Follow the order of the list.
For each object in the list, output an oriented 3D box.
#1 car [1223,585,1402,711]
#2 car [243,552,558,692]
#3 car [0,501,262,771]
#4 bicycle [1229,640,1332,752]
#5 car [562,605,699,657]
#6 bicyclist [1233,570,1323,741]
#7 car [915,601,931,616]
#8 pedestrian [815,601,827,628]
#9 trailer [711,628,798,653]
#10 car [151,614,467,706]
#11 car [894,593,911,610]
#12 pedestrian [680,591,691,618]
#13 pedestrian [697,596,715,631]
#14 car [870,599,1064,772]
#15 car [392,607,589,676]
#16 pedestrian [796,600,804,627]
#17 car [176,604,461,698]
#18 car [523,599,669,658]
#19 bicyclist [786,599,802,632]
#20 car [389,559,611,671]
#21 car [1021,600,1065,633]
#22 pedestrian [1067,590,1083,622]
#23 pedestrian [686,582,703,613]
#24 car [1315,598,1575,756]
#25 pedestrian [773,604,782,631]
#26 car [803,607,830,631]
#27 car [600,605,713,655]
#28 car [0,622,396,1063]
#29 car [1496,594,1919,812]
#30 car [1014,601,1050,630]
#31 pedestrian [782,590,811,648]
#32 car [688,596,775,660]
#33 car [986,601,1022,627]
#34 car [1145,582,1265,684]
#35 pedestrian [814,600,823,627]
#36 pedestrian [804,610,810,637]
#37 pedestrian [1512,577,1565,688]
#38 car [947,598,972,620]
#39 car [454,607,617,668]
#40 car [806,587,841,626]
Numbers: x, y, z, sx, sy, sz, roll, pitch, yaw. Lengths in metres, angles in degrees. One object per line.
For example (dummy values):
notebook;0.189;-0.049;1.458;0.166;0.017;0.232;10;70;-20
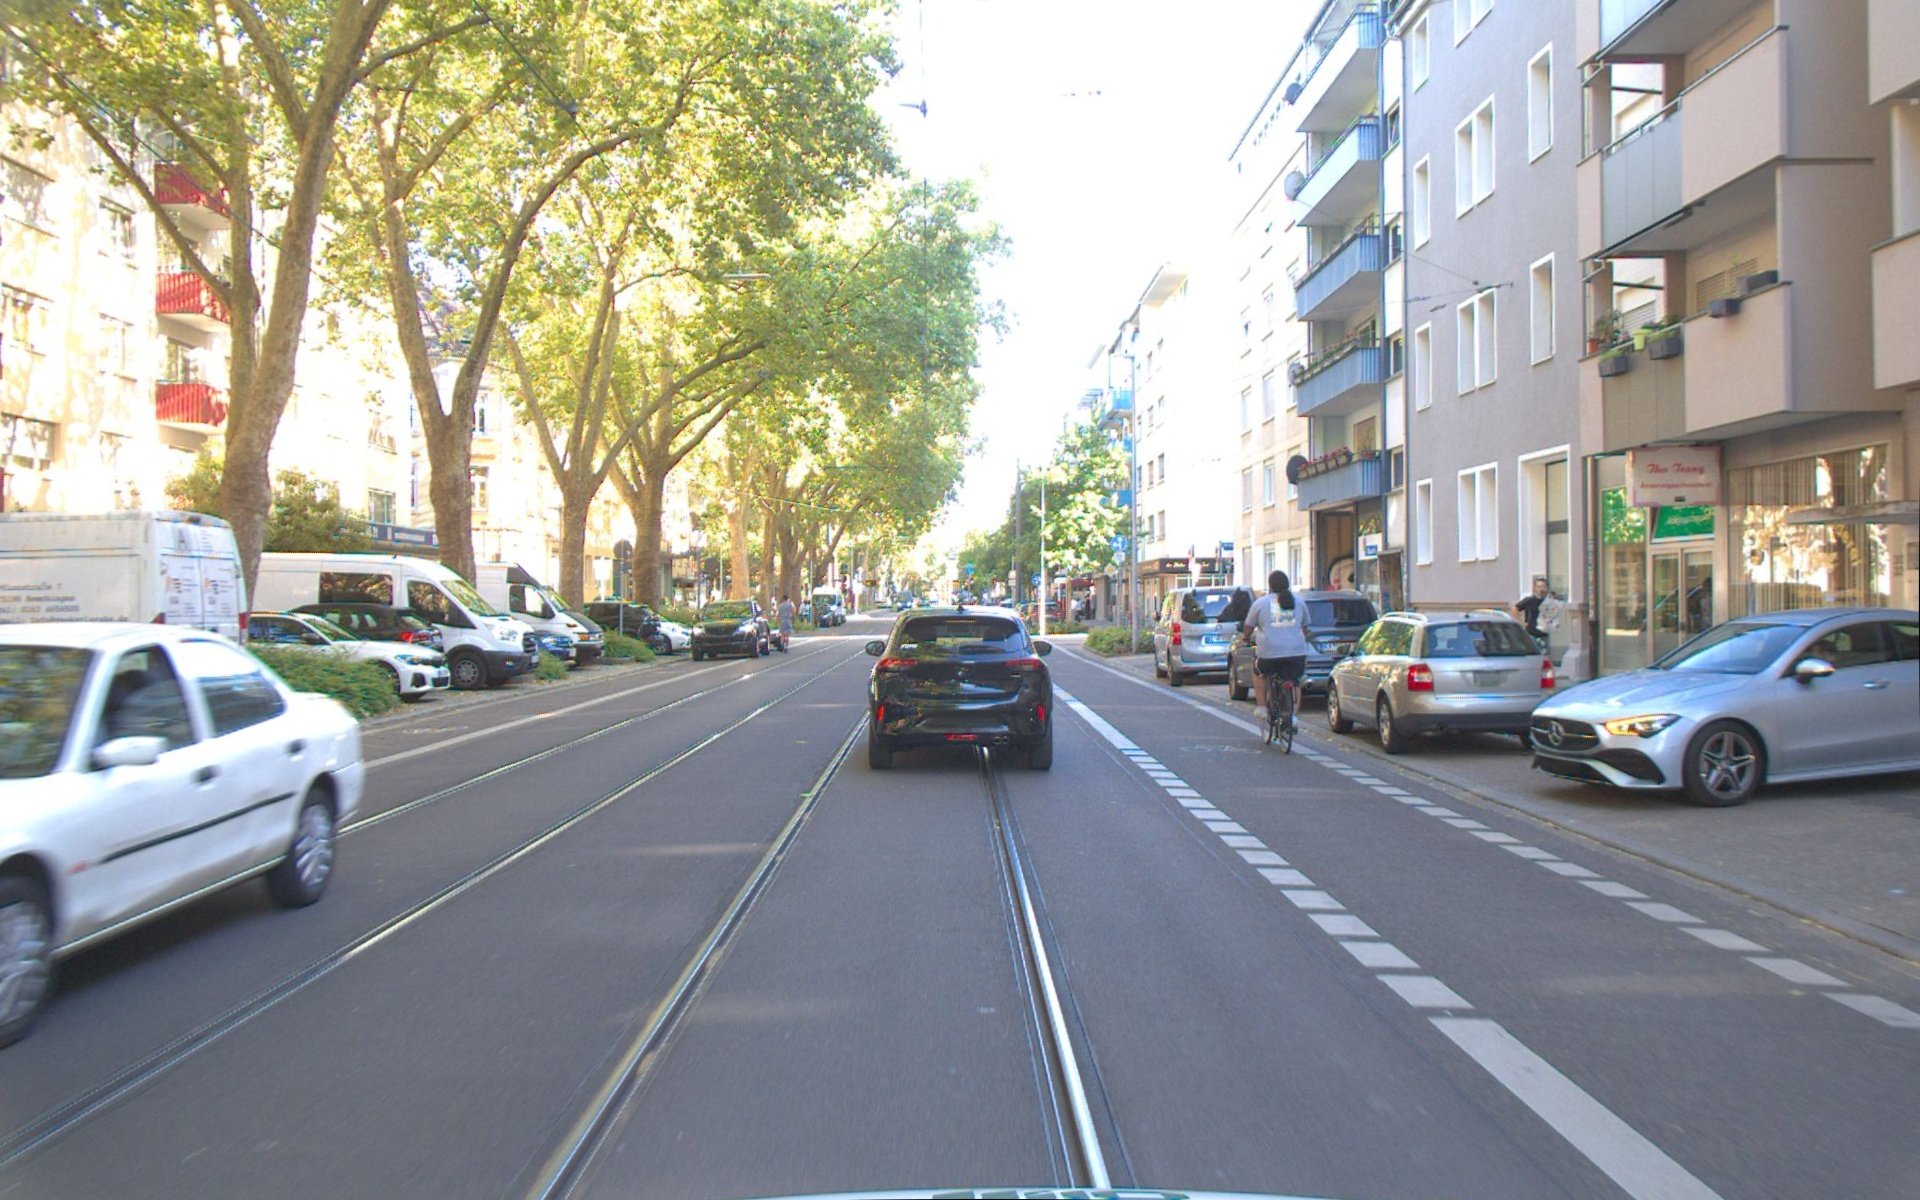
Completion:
car;5.257;0.675;25.209;1.731;1.734;4.282;-1;0;-1
car;-10.533;0.405;31.439;5.250;2.521;2.057;-1;0;0
car;-10.418;0.336;16.903;5.623;2.580;2.162;0;0;0
bicycle;3.458;1.014;17.999;0.687;1.111;1.989;1;-1;-1
car;-10.204;0.939;51.410;3.906;1.548;1.770;0;0;-2
bicyclist;3.426;0.586;17.876;0.770;1.790;0.914;0;-1;-1
car;-4.394;1.020;195.867;1.714;1.680;4.000;-1;0;1
pedestrian;-8.423;0.886;100.317;0.670;1.610;0.557;-1;0;-2
trailer;-6.678;1.311;54.468;2.117;0.643;6.399;0;0;-1
car;-10.392;0.938;26.649;4.320;1.409;1.933;0;0;-1
car;-7.669;0.159;220.558;1.954;2.250;5.097;-1;0;-5
pedestrian;-17.029;0.271;102.722;0.540;1.681;0.649;-1;0;3
pedestrian;-13.961;0.747;90.936;0.887;1.902;0.643;-1;0;-6
car;0.034;0.744;15.994;1.645;1.447;3.627;1;0;-1
car;-10.619;0.924;37.584;3.937;1.491;1.872;0;0;0
pedestrian;-9.607;0.808;99.317;0.497;1.610;0.526;0;0;-4
car;-11.213;0.872;29.135;4.282;1.566;1.872;0;0;-1
car;-10.671;0.833;48.718;3.906;1.676;1.893;0;0;-2
bicyclist;-8.634;0.793;86.009;0.768;1.707;0.957;-1;0;-2
car;-11.127;0.353;40.255;4.845;2.612;2.081;-1;0;-4
car;4.159;0.828;83.511;1.684;1.601;4.081;-1;0;-4
pedestrian;6.532;0.338;94.195;0.751;1.779;0.796;-1;0;16
pedestrian;-14.359;-0.122;89.536;0.830;1.661;0.643;-1;0;-6
car;5.318;0.770;18.731;1.689;1.552;4.513;-1;0;1
pedestrian;-11.005;1.046;99.755;0.498;1.610;0.524;0;0;-15
car;-9.488;1.236;109.721;1.719;1.534;3.997;-1;0;-4
car;-9.751;0.955;53.374;3.362;1.557;1.786;-1;0;-4
car;-3.961;0.818;6.904;1.683;1.382;4.469;-1;0;0
car;6.976;0.751;13.624;4.532;1.462;1.859;-2;1;-12
car;3.860;0.843;89.033;1.683;1.516;3.680;-1;0;-2
pedestrian;-5.104;0.591;51.617;0.696;1.765;0.914;-2;0;6
car;-6.713;0.785;49.042;1.953;1.730;4.484;-2;0;-1
car;2.854;0.909;107.903;1.954;1.668;3.996;-1;0;-4
car;4.954;0.629;34.093;1.820;1.923;4.925;-1;0;1
pedestrian;-8.506;0.794;99.665;0.496;1.610;0.526;-1;0;-1
pedestrian;-9.235;1.400;99.872;0.339;1.610;0.508;0;0;-2
pedestrian;9.206;0.511;26.336;0.740;1.750;0.720;-1;0;17
car;-0.027;0.689;126.540;1.820;1.680;4.000;-1;0;1
car;-10.970;0.952;42.940;3.776;1.504;1.860;-1;0;-2
car;-9.514;0.446;115.637;2.050;2.629;5.995;-1;0;-1
